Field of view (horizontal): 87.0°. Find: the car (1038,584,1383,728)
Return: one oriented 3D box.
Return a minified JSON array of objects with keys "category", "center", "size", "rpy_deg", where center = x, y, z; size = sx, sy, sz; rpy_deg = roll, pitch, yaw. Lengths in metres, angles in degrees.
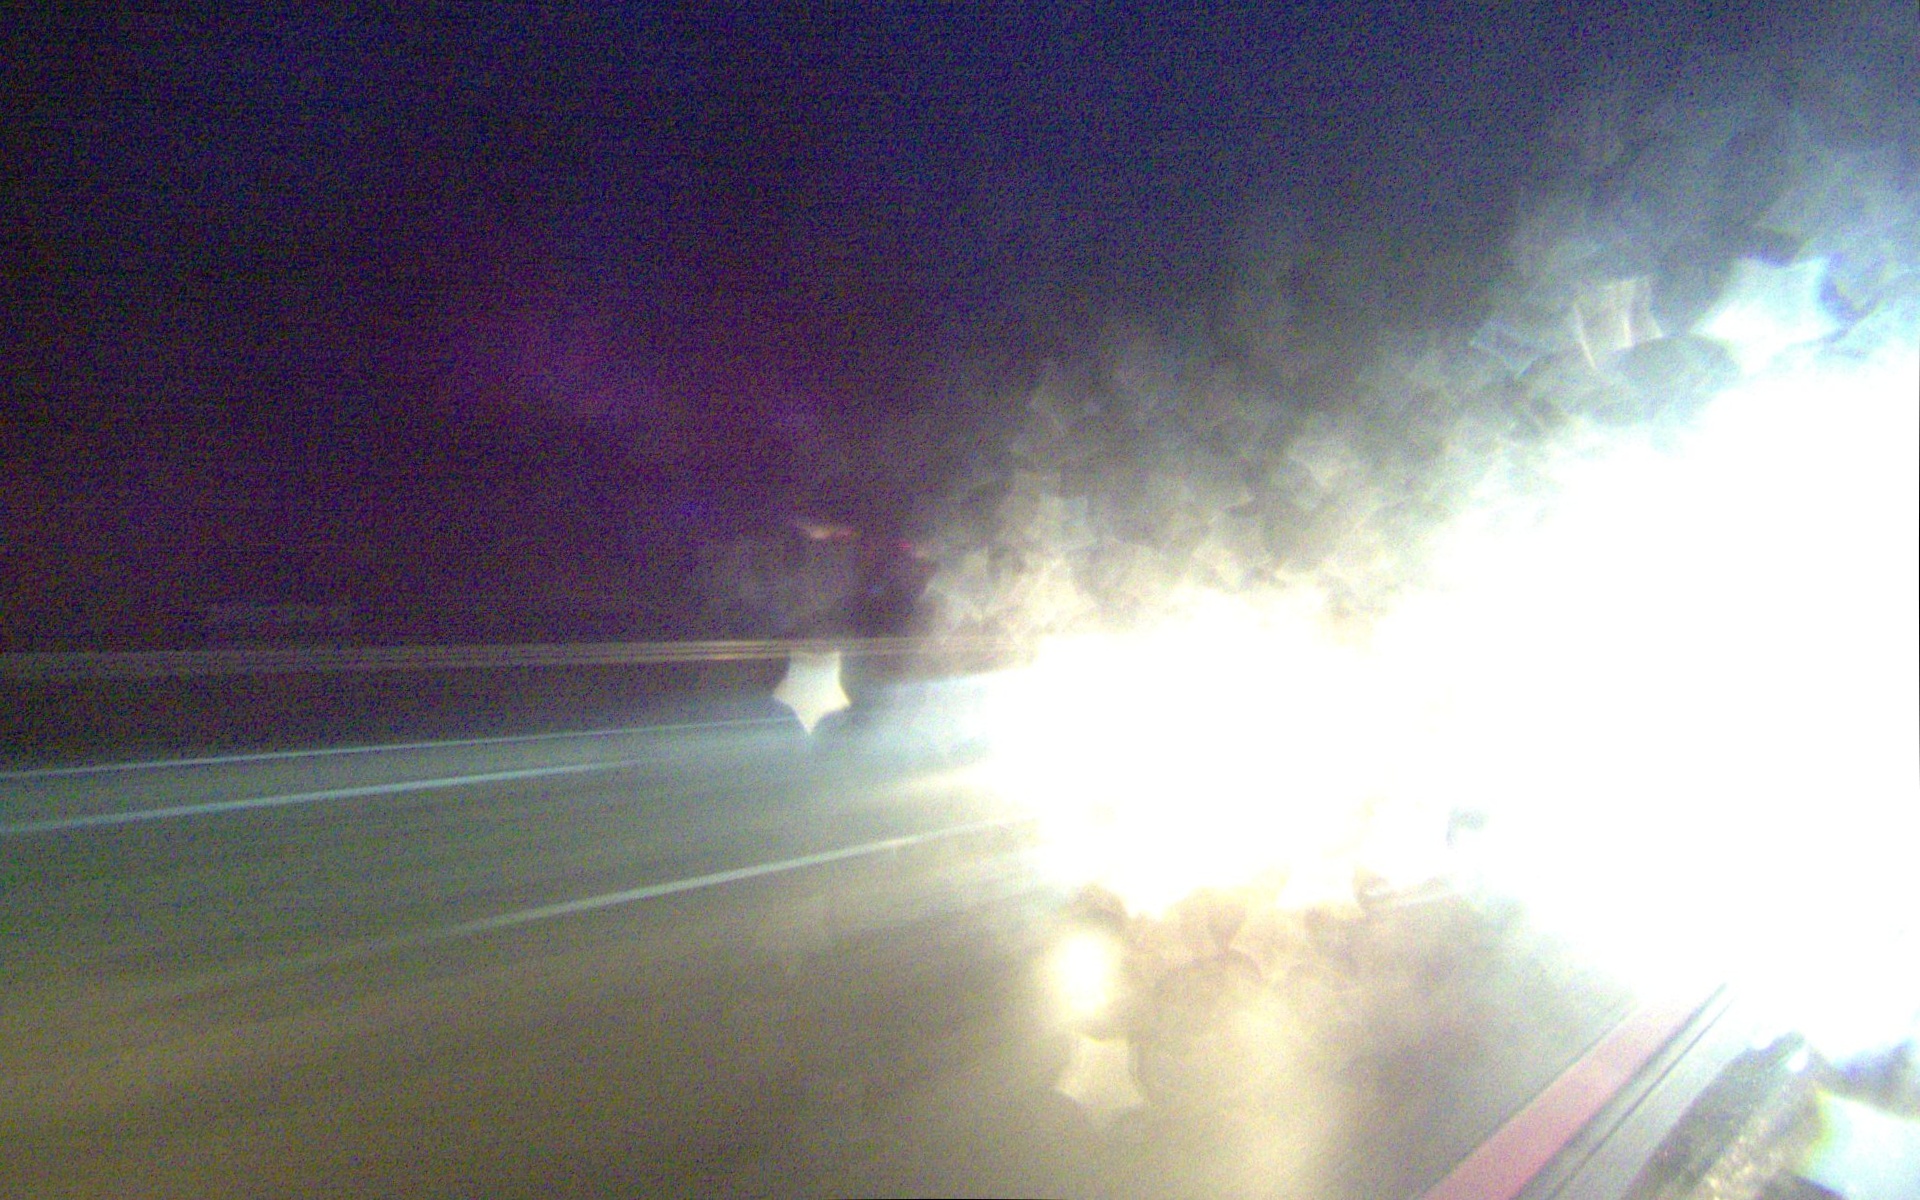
[{"category":"car","center":[3.357,0.600,12.931],"size":[4.876,1.505,1.897],"rpy_deg":[1,0,-42]}]

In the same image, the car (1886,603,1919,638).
[{"category":"car","center":[43.979,0.918,46.333],"size":[5.272,1.498,1.746],"rpy_deg":[1,0,-41]}]

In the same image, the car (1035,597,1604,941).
[{"category":"car","center":[2.342,0.713,6.125],"size":[3.725,1.430,1.615],"rpy_deg":[0,1,-40]}]

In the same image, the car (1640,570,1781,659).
[{"category":"car","center":[19.100,0.323,25.649],"size":[5.318,1.999,2.048],"rpy_deg":[0,1,-45]}]
